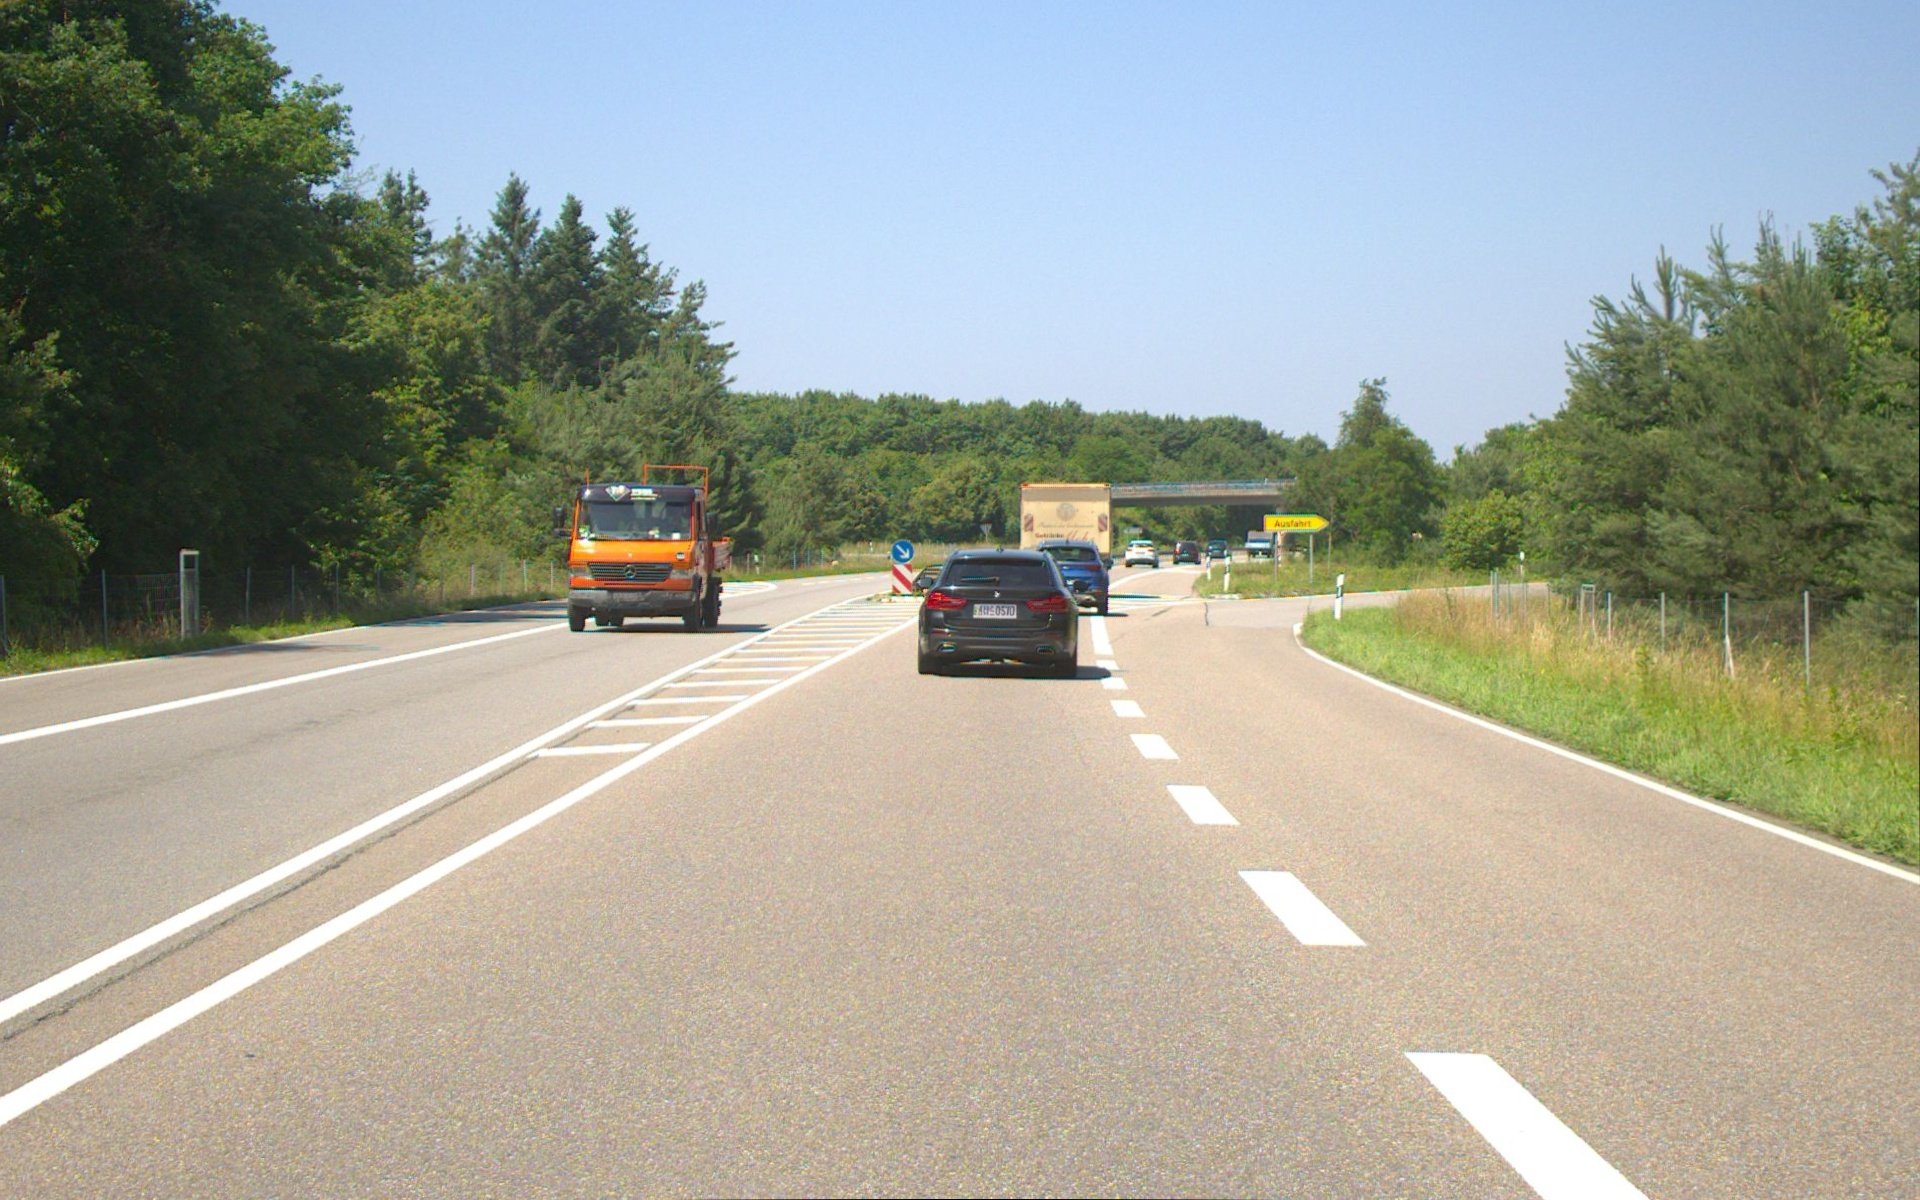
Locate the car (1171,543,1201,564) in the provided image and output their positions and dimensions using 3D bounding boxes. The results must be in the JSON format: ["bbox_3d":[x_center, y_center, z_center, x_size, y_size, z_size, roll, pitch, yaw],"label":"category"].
[{"bbox_3d":[15.950,-3.317,242.475,1.994,1.415,3.999,2,1,5],"label":"car"}]

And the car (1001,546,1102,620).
[{"bbox_3d":[1.986,-0.396,75.548,1.947,1.536,4.001,0,1,-2],"label":"car"}]

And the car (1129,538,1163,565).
[{"bbox_3d":[11.301,-2.981,209.305,1.863,1.600,4.000,1,1,1],"label":"car"}]

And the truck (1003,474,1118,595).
[{"bbox_3d":[2.869,-1.913,99.714,2.965,3.376,6.439,0,1,-1],"label":"truck"}]

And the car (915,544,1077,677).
[{"bbox_3d":[0.382,0.086,40.709,1.820,1.465,4.000,0,1,-1],"label":"car"}]

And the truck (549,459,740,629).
[{"bbox_3d":[-5.308,-0.959,58.818,2.399,2.713,6.551,1,1,2],"label":"truck"}]
